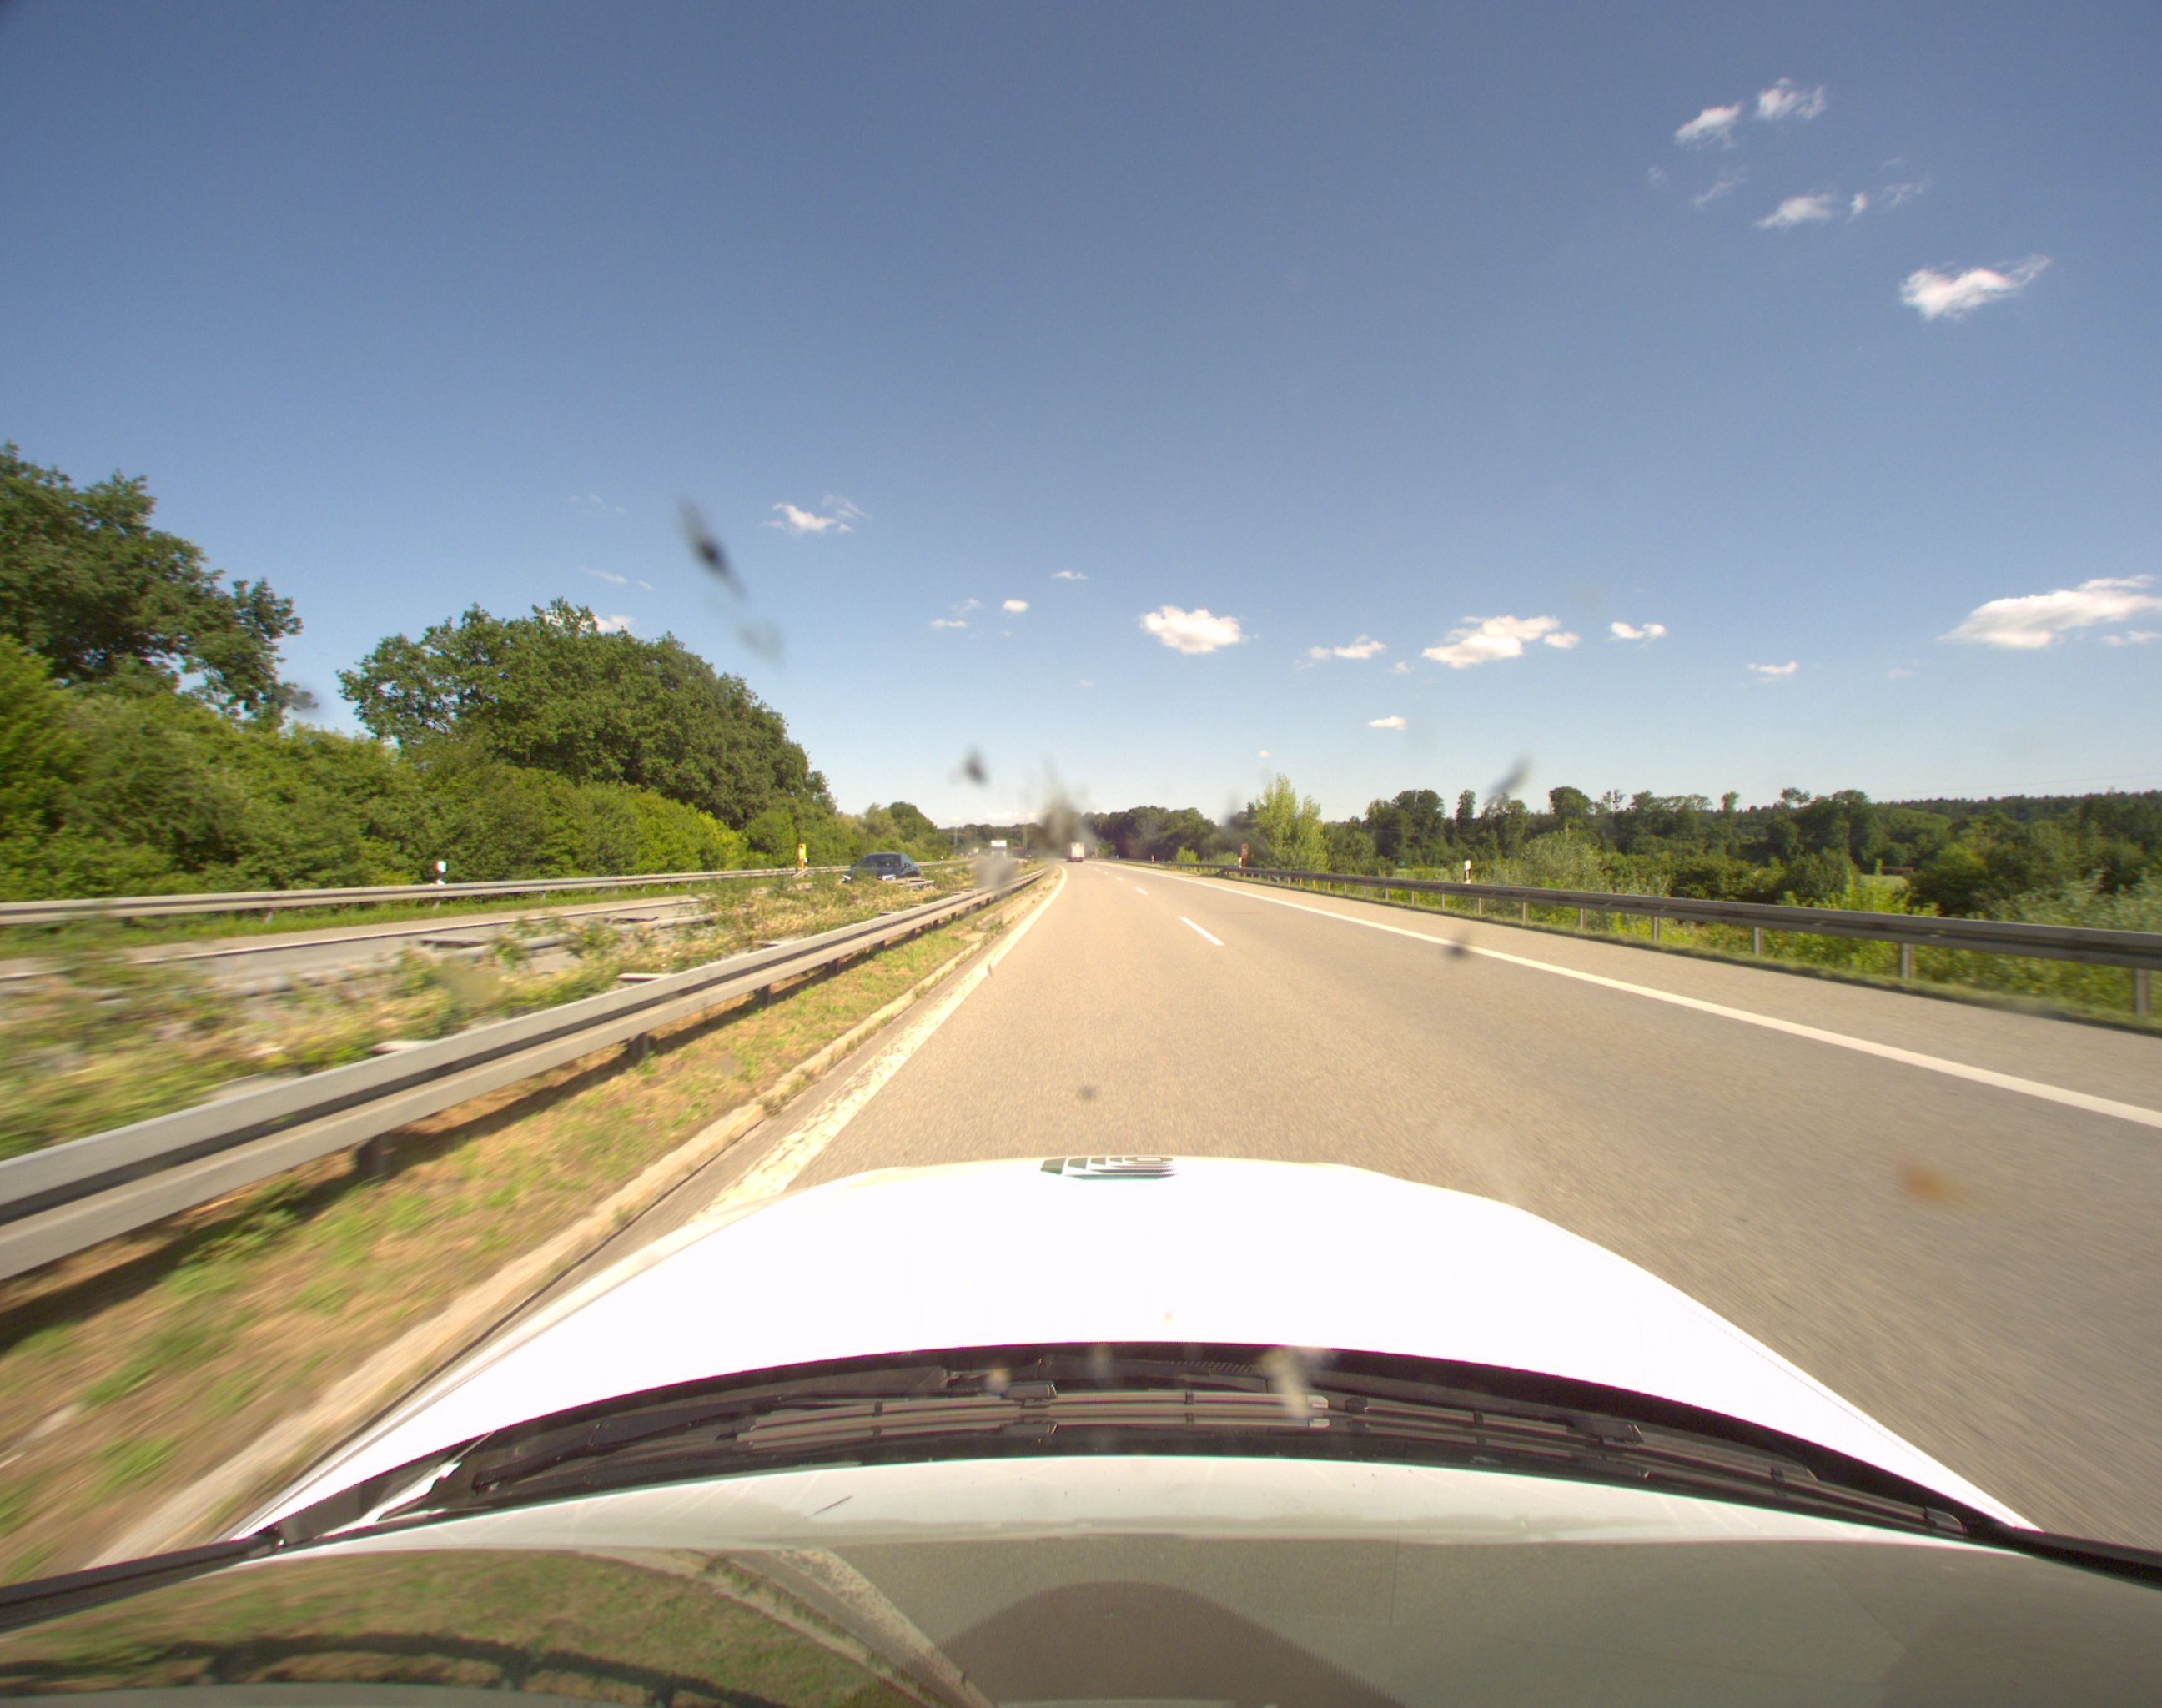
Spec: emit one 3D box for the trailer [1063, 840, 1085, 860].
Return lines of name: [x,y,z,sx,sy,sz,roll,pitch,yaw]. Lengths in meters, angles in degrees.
trailer: [-1.513,-0.831,169.349,2.882,4.066,12.386,-1,0,-8]

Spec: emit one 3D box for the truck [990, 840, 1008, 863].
truck: [-13.434,-0.424,133.790,2.736,3.727,5.962,-1,0,-5]

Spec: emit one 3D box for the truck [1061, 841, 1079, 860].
truck: [-2.362,-0.758,175.377,2.830,4.012,6.566,-1,0,-9]

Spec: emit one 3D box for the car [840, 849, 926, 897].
car: [-6.473,0.593,27.066,1.722,1.428,3.883,-2,0,2]
